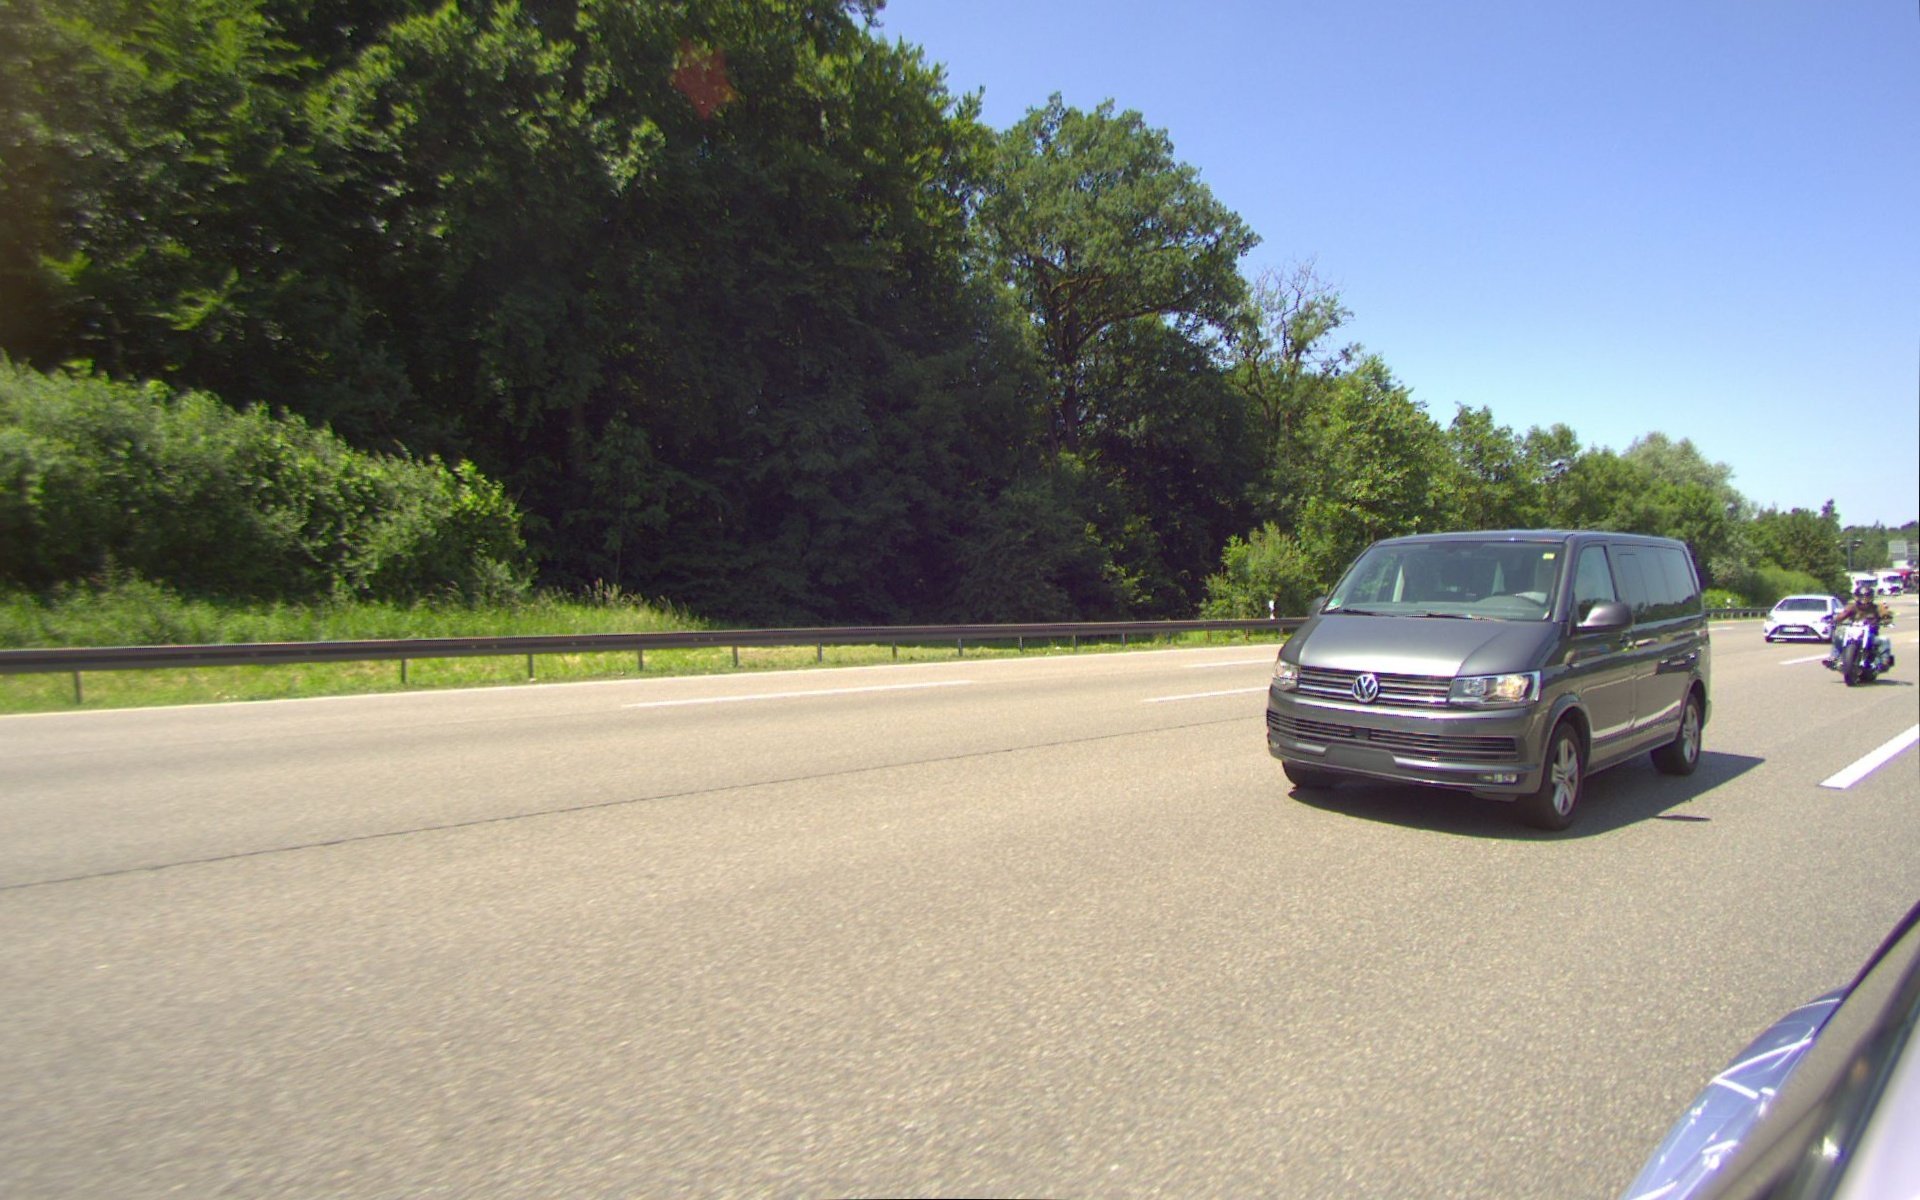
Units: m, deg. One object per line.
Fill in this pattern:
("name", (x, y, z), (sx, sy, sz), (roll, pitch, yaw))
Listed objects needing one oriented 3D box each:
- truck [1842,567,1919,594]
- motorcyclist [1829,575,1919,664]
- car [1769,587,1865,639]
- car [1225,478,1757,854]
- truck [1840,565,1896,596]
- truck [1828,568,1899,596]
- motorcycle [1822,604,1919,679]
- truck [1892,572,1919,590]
("truck", (159.182, -3.298, 175.025), (2.786, 4.516, 14.599), (0, 1, 10))
("motorcyclist", (15.466, 0.302, 17.105), (1.002, 1.445, 0.857), (-1, 1, -26))
("car", (27.564, 0.368, 32.497), (4.406, 1.538, 1.752), (0, 1, -42))
("car", (4.377, 0.340, 7.918), (4.993, 2.059, 1.967), (0, 0, -40))
("truck", (143.816, -3.105, 160.460), (3.215, 4.783, 7.168), (-2, 1, 11))
("truck", (153.041, -3.124, 171.701), (2.785, 4.515, 12.033), (-2, 1, 9))
("motorcycle", (15.564, 0.673, 17.140), (2.386, 1.150, 0.538), (-1, 1, -26))
("truck", (169.368, -3.422, 179.101), (1.968, 2.986, 8.723), (-2, 1, 11))
